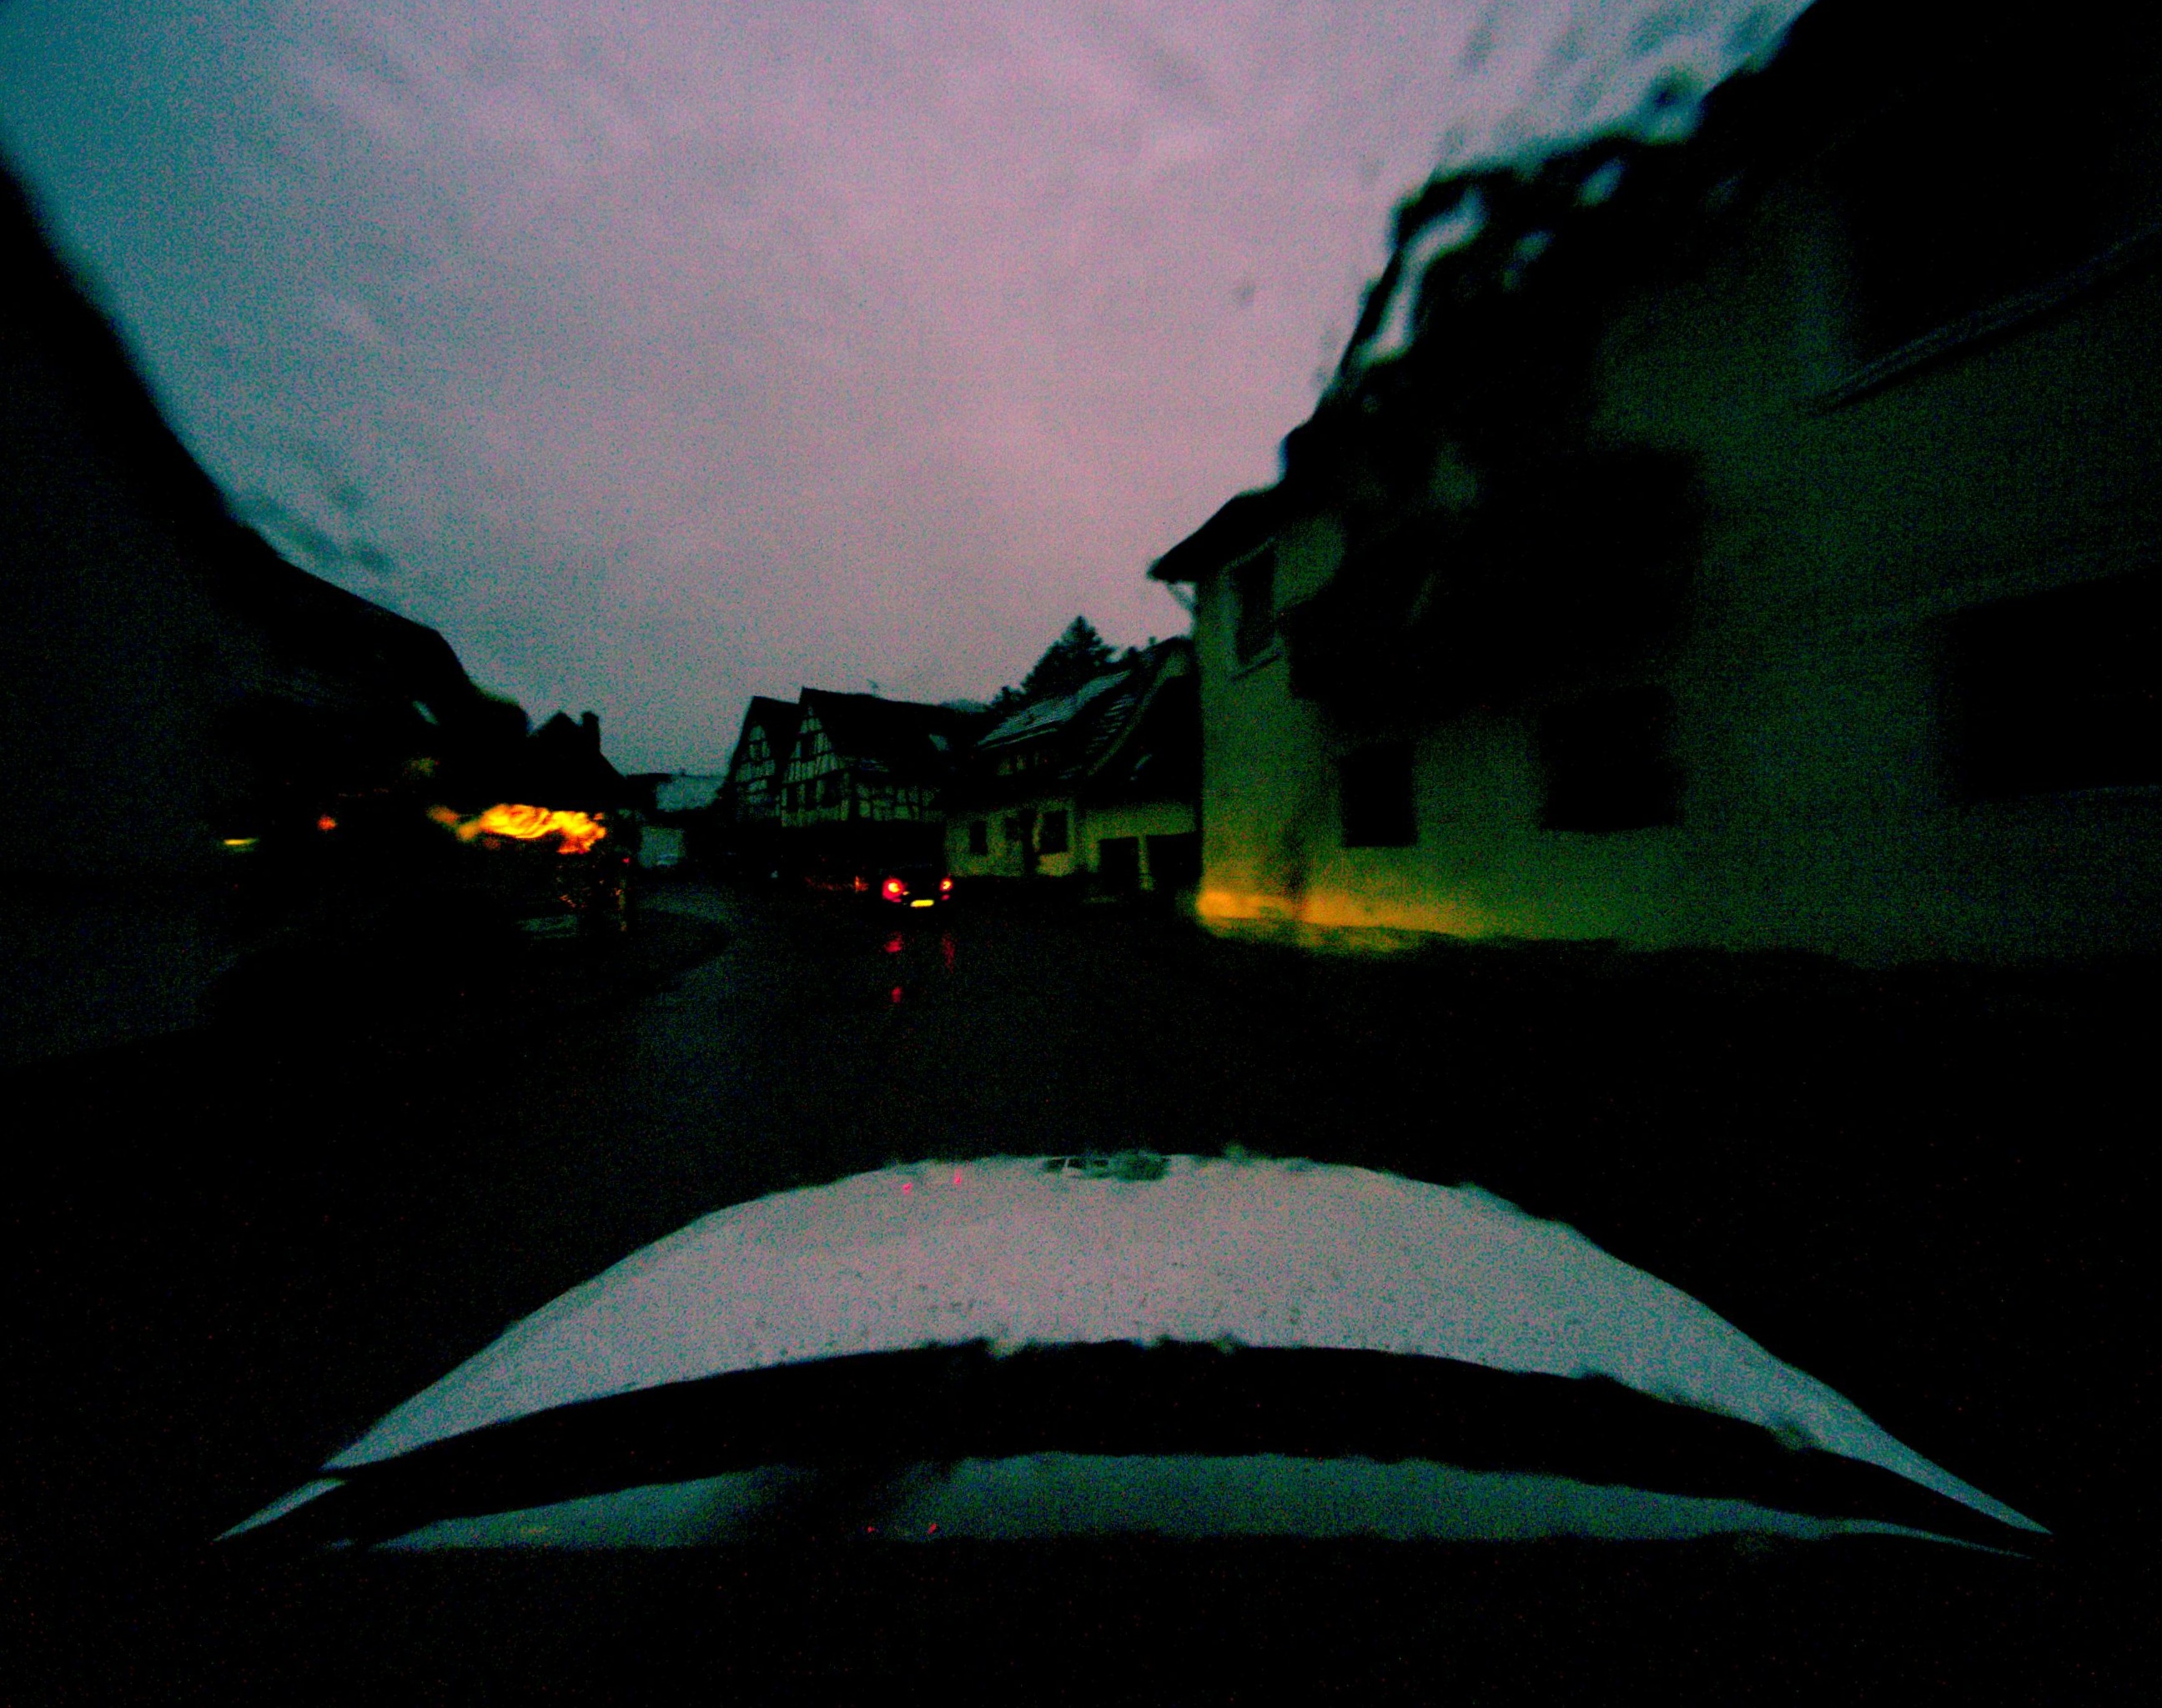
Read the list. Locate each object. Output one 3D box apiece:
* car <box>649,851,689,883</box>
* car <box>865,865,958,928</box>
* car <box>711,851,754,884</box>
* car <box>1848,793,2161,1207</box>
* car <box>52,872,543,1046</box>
[{"bbox_3d":[-23.349,0.670,46.277,1.818,1.420,4.006,-3,5,-25],"label":"car"},{"bbox_3d":[-4.483,1.018,21.155,1.554,1.466,3.667,0,-1,-25],"label":"car"},{"bbox_3d":[-19.838,0.708,46.283,1.603,1.515,3.946,-4,5,-31],"label":"car"},{"bbox_3d":[5.115,0.426,2.029,1.813,1.487,4.249,-4,-1,-19],"label":"car"},{"bbox_3d":[-7.746,0.911,8.666,1.615,1.421,3.799,0,-1,-3],"label":"car"}]
